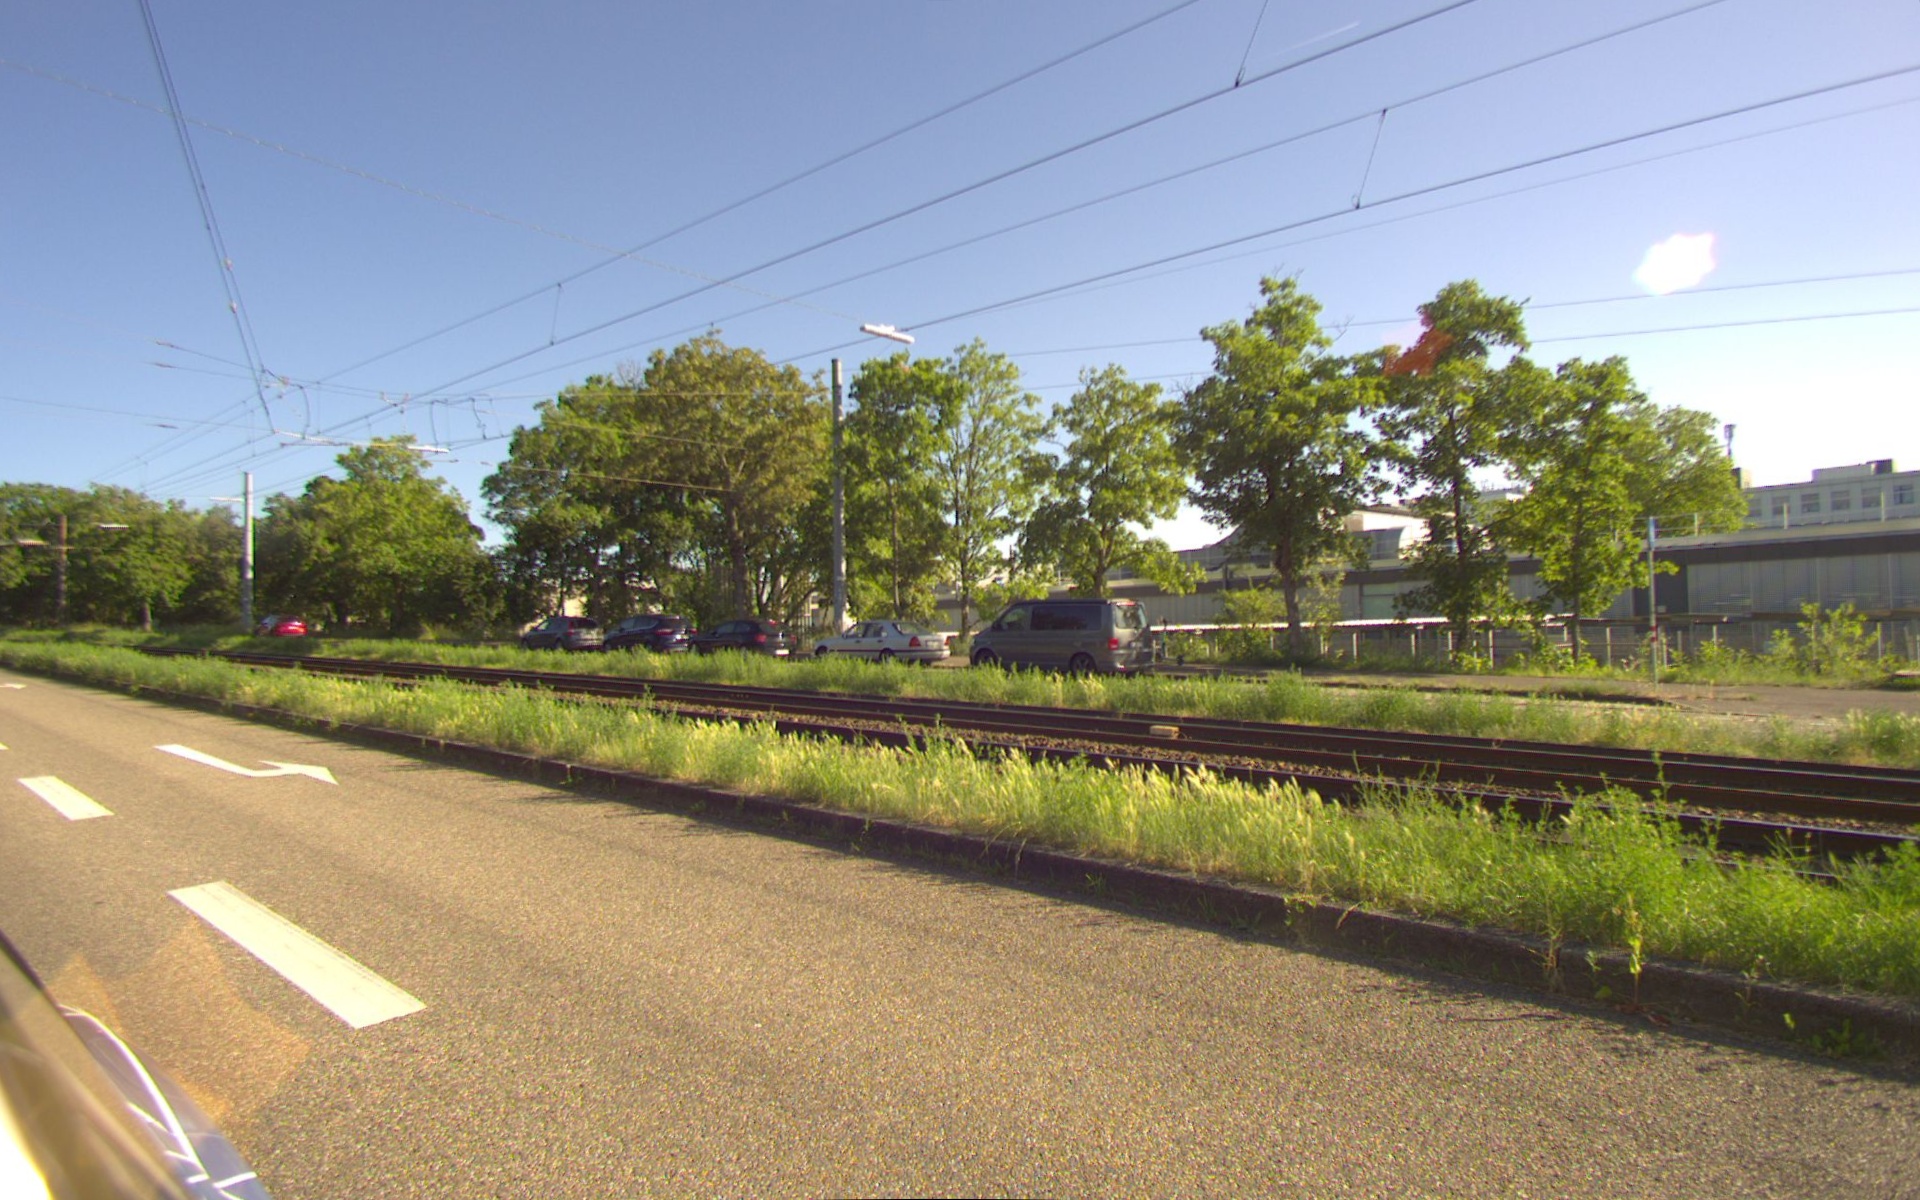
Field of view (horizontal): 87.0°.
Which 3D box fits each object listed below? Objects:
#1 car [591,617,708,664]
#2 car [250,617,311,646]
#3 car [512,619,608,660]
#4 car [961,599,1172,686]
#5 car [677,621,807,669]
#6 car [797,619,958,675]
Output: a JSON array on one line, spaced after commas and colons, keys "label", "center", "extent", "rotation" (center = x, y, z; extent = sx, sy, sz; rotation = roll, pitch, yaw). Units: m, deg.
[{"label": "car", "center": [-11.315, 1.451, 36.781], "extent": [4.430, 1.586, 1.974], "rotation": [-2, -2, 39]}, {"label": "car", "center": [-42.187, 1.955, 62.778], "extent": [4.462, 1.715, 1.984], "rotation": [-1, -1, 40]}, {"label": "car", "center": [-16.335, 1.574, 41.226], "extent": [4.323, 1.505, 1.718], "rotation": [-1, 0, 39]}, {"label": "car", "center": [2.530, 0.997, 24.800], "extent": [4.791, 1.905, 2.173], "rotation": [-2, -1, 43]}, {"label": "car", "center": [-7.228, 1.443, 33.316], "extent": [4.412, 1.448, 1.973], "rotation": [-2, -2, 41]}, {"label": "car", "center": [-2.452, 1.324, 29.211], "extent": [4.692, 1.448, 1.908], "rotation": [-2, -2, 41]}]
